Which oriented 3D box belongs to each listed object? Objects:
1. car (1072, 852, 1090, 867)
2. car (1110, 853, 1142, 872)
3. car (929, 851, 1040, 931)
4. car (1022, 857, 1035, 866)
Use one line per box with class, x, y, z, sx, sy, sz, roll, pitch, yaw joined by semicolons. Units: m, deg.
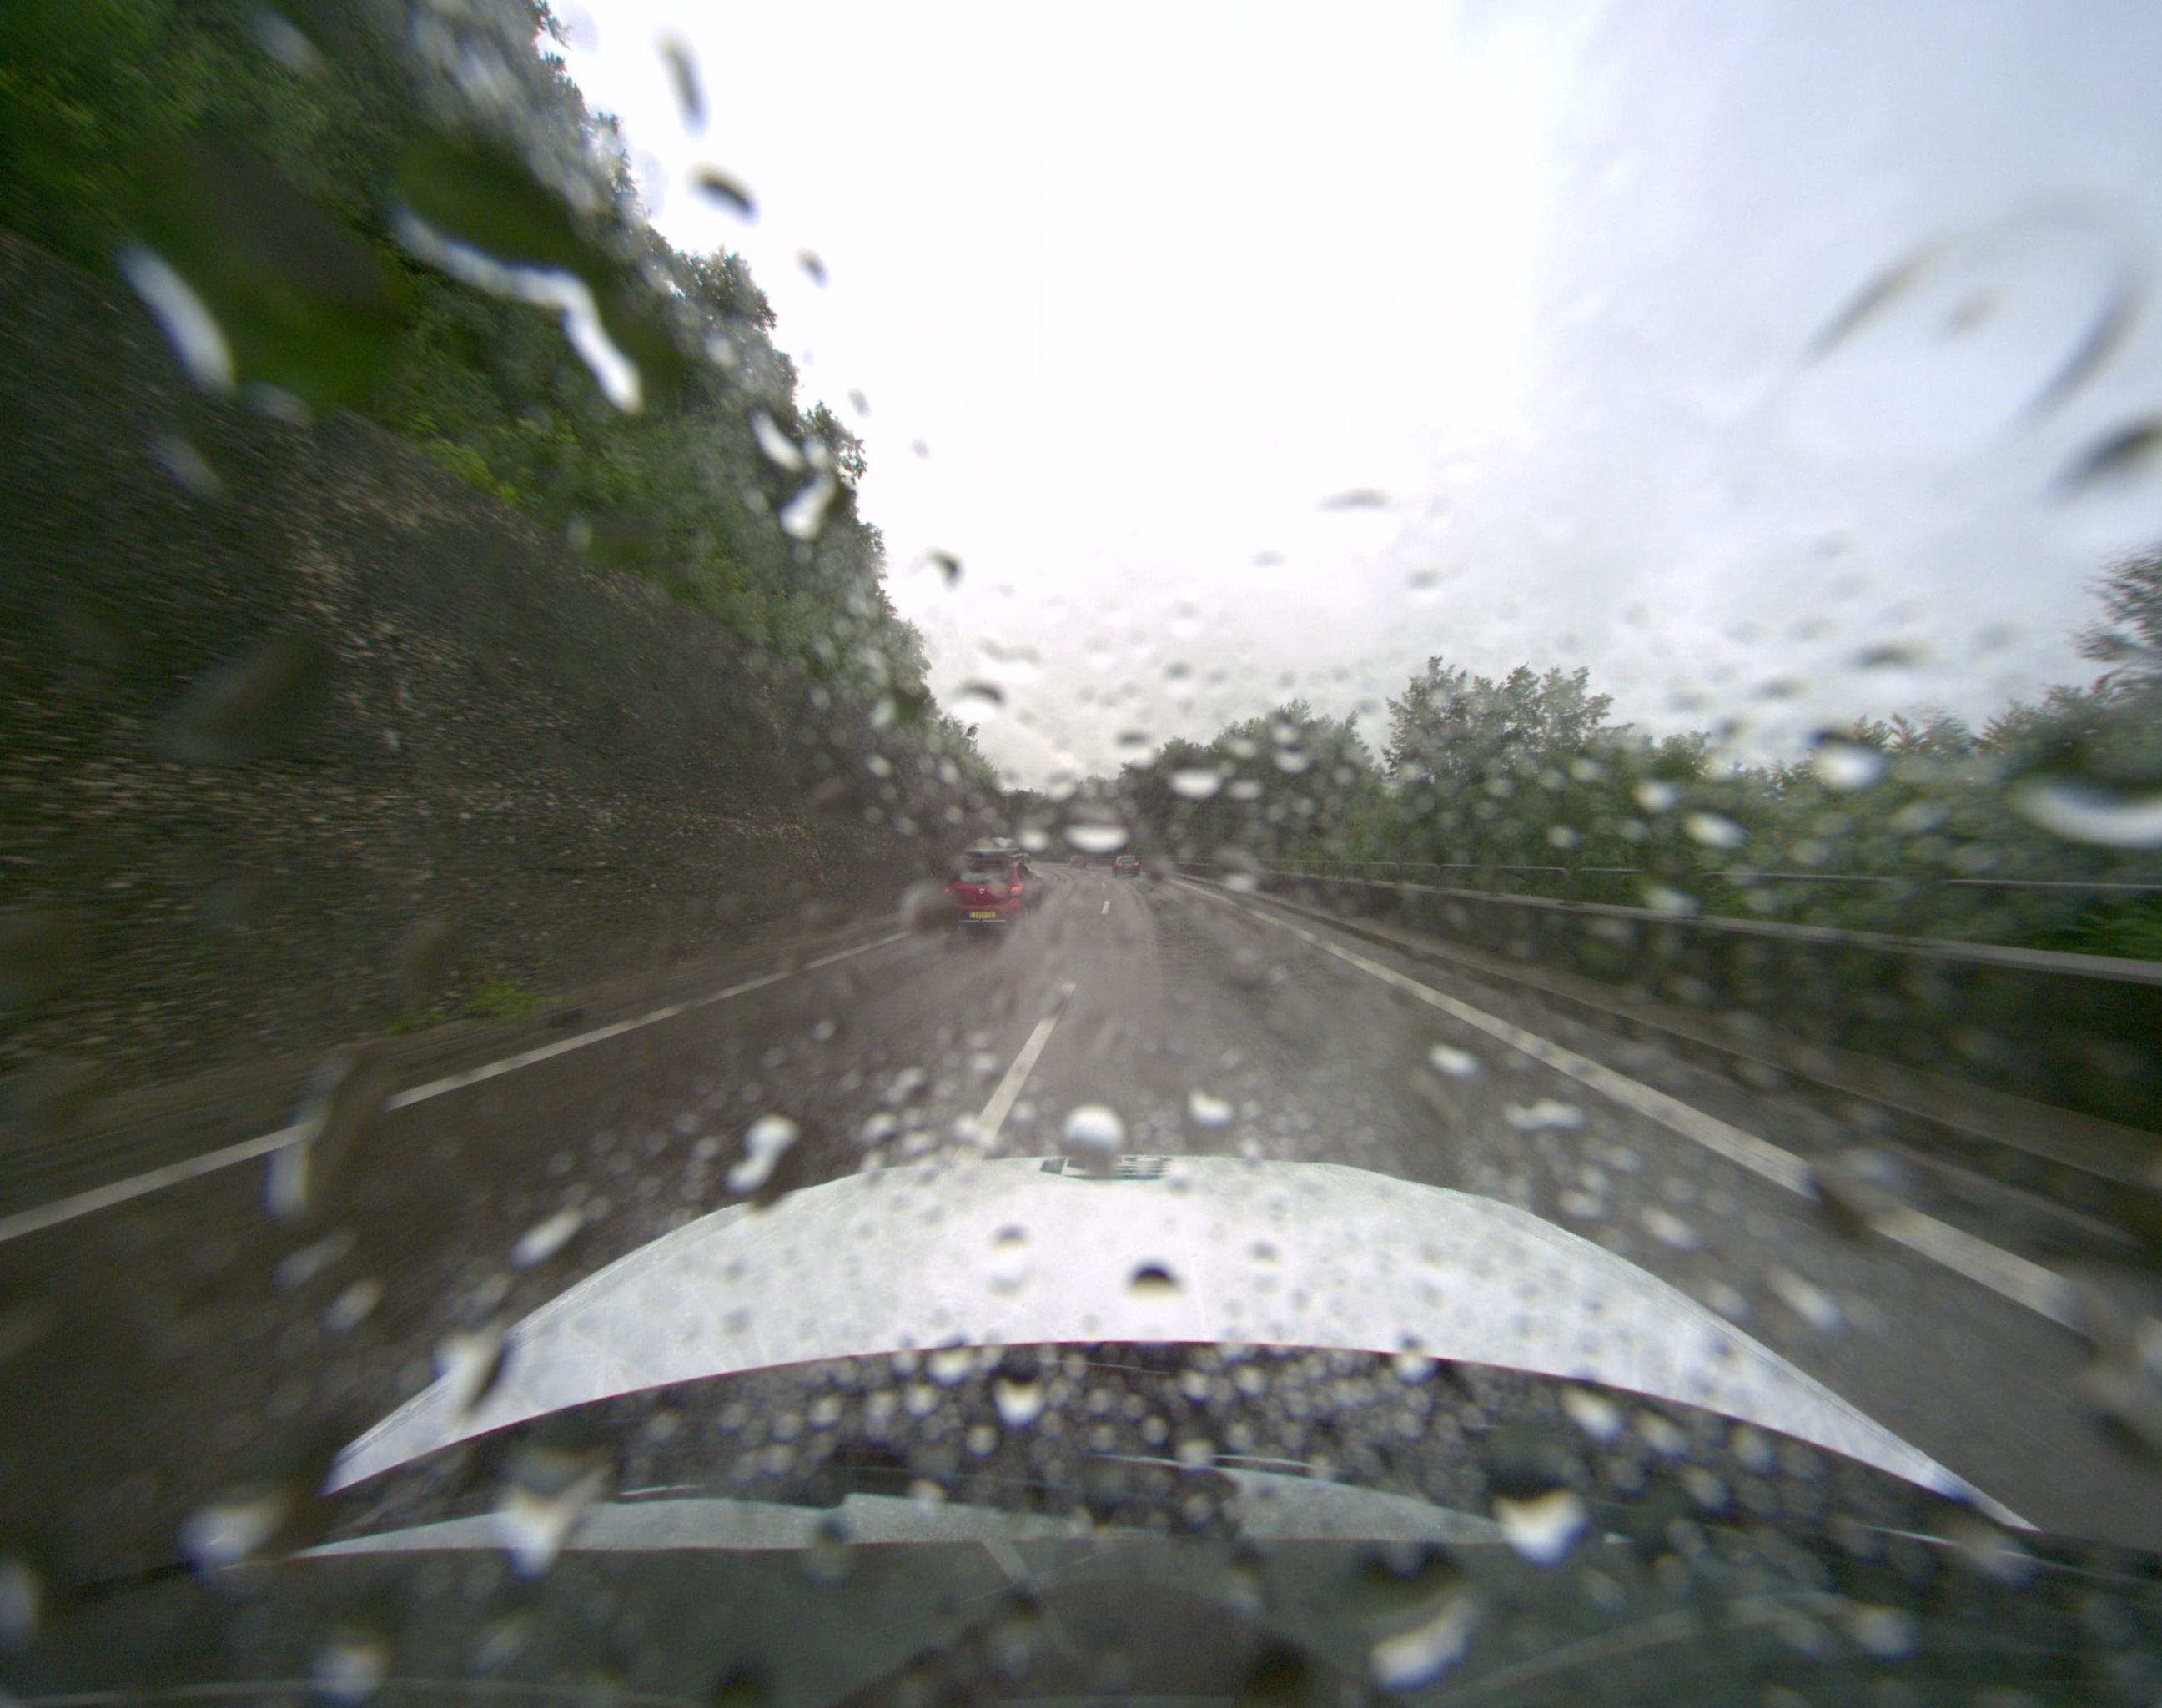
car;-0.034;0.671;96.148;1.988;1.750;3.997;-1;-1;-2
car;3.168;0.601;57.904;1.796;1.307;3.995;-1;0;-3
car;-2.031;0.746;18.277;1.987;1.552;3.999;-1;0;-1
car;-8.805;1.231;137.161;1.800;1.467;3.987;-1;0;-9
